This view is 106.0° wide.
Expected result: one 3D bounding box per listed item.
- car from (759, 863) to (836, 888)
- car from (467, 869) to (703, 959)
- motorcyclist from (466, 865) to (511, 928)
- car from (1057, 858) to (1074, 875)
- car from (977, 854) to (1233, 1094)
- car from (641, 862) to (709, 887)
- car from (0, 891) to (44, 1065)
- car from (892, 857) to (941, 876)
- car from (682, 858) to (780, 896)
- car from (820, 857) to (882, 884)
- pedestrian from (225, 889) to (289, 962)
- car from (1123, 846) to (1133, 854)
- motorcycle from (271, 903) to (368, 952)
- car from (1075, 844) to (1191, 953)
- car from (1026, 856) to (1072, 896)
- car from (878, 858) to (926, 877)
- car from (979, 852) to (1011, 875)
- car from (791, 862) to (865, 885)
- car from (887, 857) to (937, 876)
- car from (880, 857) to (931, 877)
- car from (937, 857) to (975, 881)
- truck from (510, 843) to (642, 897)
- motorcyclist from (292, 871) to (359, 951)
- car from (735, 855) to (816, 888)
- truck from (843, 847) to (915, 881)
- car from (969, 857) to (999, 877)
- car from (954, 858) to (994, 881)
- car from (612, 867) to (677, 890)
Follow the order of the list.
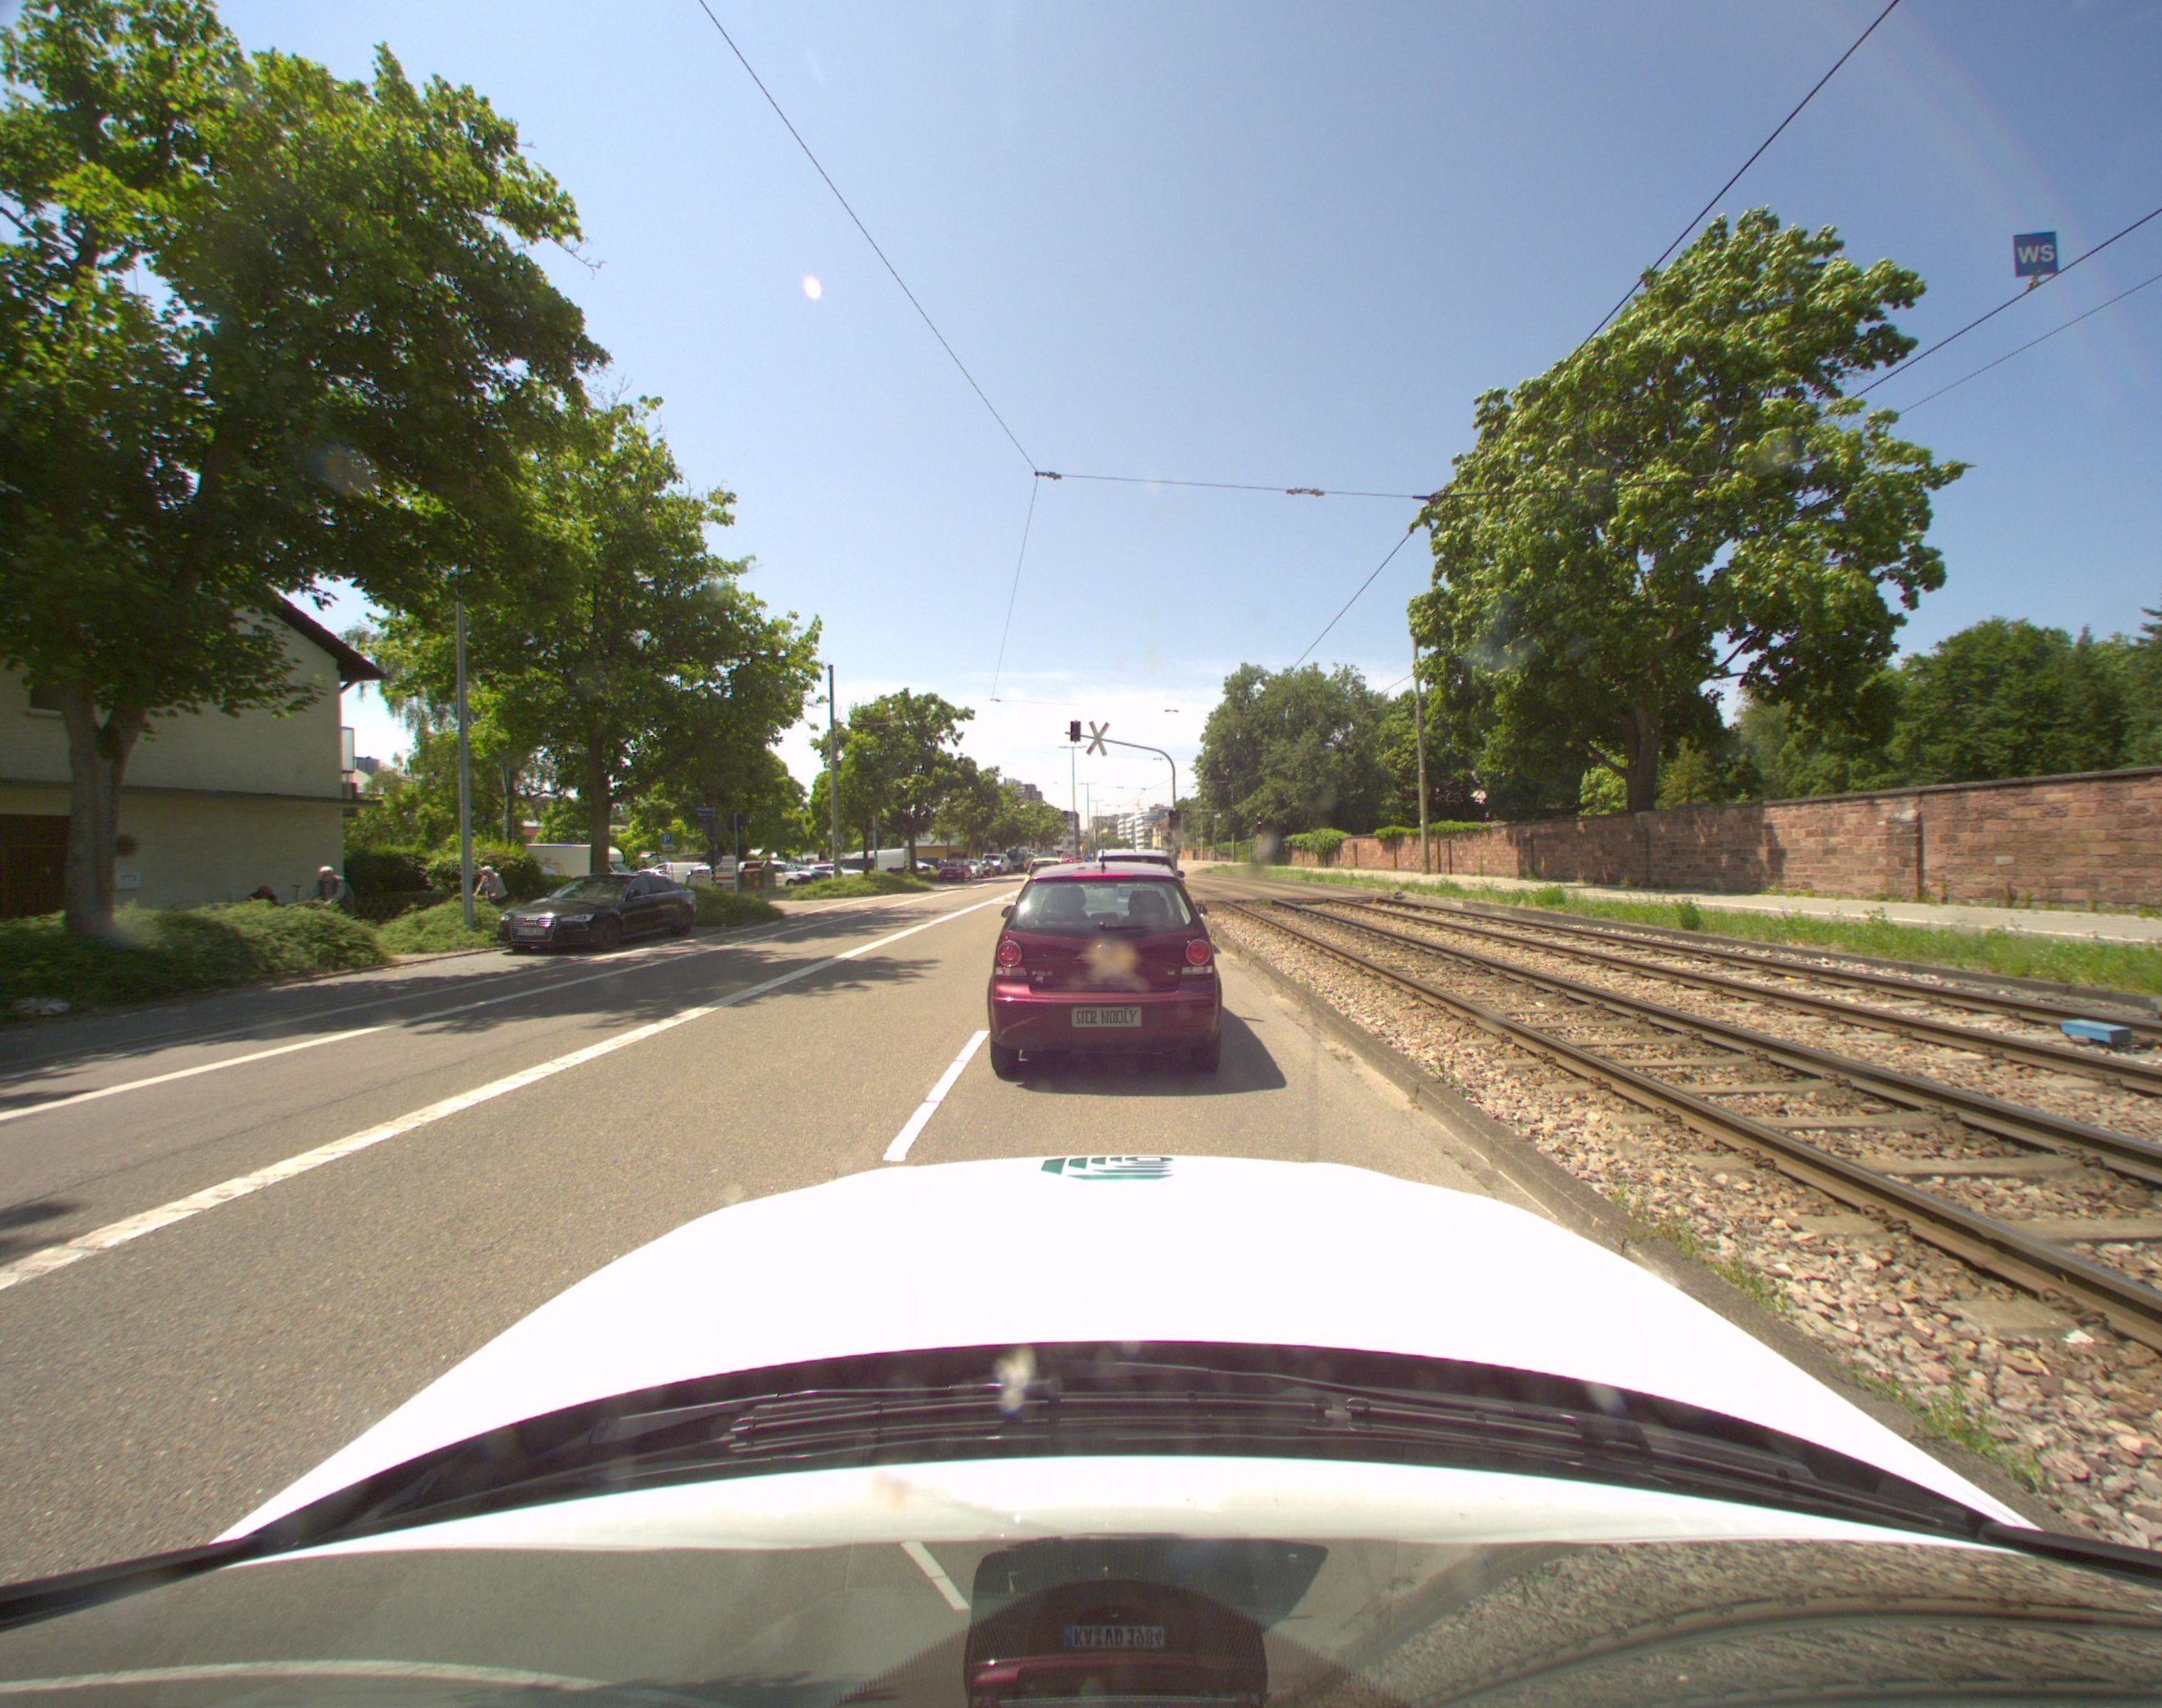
[{"bbox_3d":[-18.405,1.376,53.029,4.185,1.403,2.079,-2,0,-2],"label":"car"},{"bbox_3d":[-9.803,1.095,16.661,1.888,1.456,4.808,0,0,0],"label":"car"},{"bbox_3d":[-14.634,1.028,20.127,0.584,1.503,0.663,1,0,3],"label":"motorcyclist"},{"bbox_3d":[-1.876,1.460,100.196,1.892,1.926,4.820,-3,0,1],"label":"car"},{"bbox_3d":[0.212,0.759,7.133,1.603,1.498,4.002,0,0,2],"label":"car"},{"bbox_3d":[-30.706,1.550,61.617,4.112,1.820,1.971,-1,0,1],"label":"car"},{"bbox_3d":[-10.206,1.085,5.257,1.670,1.486,4.130,0,0,2],"label":"car"},{"bbox_3d":[-17.478,1.320,86.746,4.702,1.813,1.797,-2,0,0],"label":"car"},{"bbox_3d":[-19.345,1.253,45.156,4.437,1.857,2.059,-2,0,-3],"label":"car"},{"bbox_3d":[-17.946,1.275,63.648,4.195,1.995,1.857,-2,0,0],"label":"car"},{"bbox_3d":[-18.007,1.555,17.806,0.789,1.510,0.610,-2,0,8],"label":"pedestrian"},{"bbox_3d":[10.715,-0.899,185.611,1.914,1.910,4.566,-2,0,-3],"label":"car"},{"bbox_3d":[-14.803,1.412,15.876,0.524,0.825,1.372,1,0,3],"label":"motorcycle"},{"bbox_3d":[0.868,0.691,14.671,1.788,1.683,4.002,0,0,2],"label":"car"},{"bbox_3d":[-1.225,0.811,31.909,1.545,1.448,3.413,0,0,2],"label":"car"},{"bbox_3d":[-17.581,1.329,80.079,4.195,1.765,1.857,-2,0,0],"label":"car"},{"bbox_3d":[-7.486,0.793,71.550,1.854,1.937,4.811,2,0,4],"label":"car"},{"bbox_3d":[-18.851,1.446,60.836,4.745,1.488,2.058,-2,0,0],"label":"car"},{"bbox_3d":[-17.479,1.323,84.494,4.702,1.813,1.797,-2,0,0],"label":"car"},{"bbox_3d":[-17.736,1.310,82.273,4.702,1.813,1.797,-2,0,0],"label":"car"},{"bbox_3d":[-8.310,0.998,54.337,1.664,1.546,3.731,0,-1,4],"label":"car"},{"bbox_3d":[-31.858,0.991,51.534,6.954,3.227,2.150,-1,0,0],"label":"truck"},{"bbox_3d":[-14.788,1.097,15.958,0.584,1.503,0.726,1,0,3],"label":"motorcyclist"},{"bbox_3d":[-18.716,1.073,49.963,4.247,1.835,1.675,-2,0,4],"label":"car"},{"bbox_3d":[-17.721,0.893,71.544,5.555,2.759,2.434,-2,0,3],"label":"truck"},{"bbox_3d":[-7.864,1.055,66.274,1.607,1.484,3.789,2,0,4],"label":"car"},{"bbox_3d":[-8.019,1.156,61.354,1.710,1.427,4.780,-6,0,7],"label":"car"},{"bbox_3d":[-31.697,1.770,59.219,3.733,1.576,1.733,-1,0,1],"label":"car"}]
